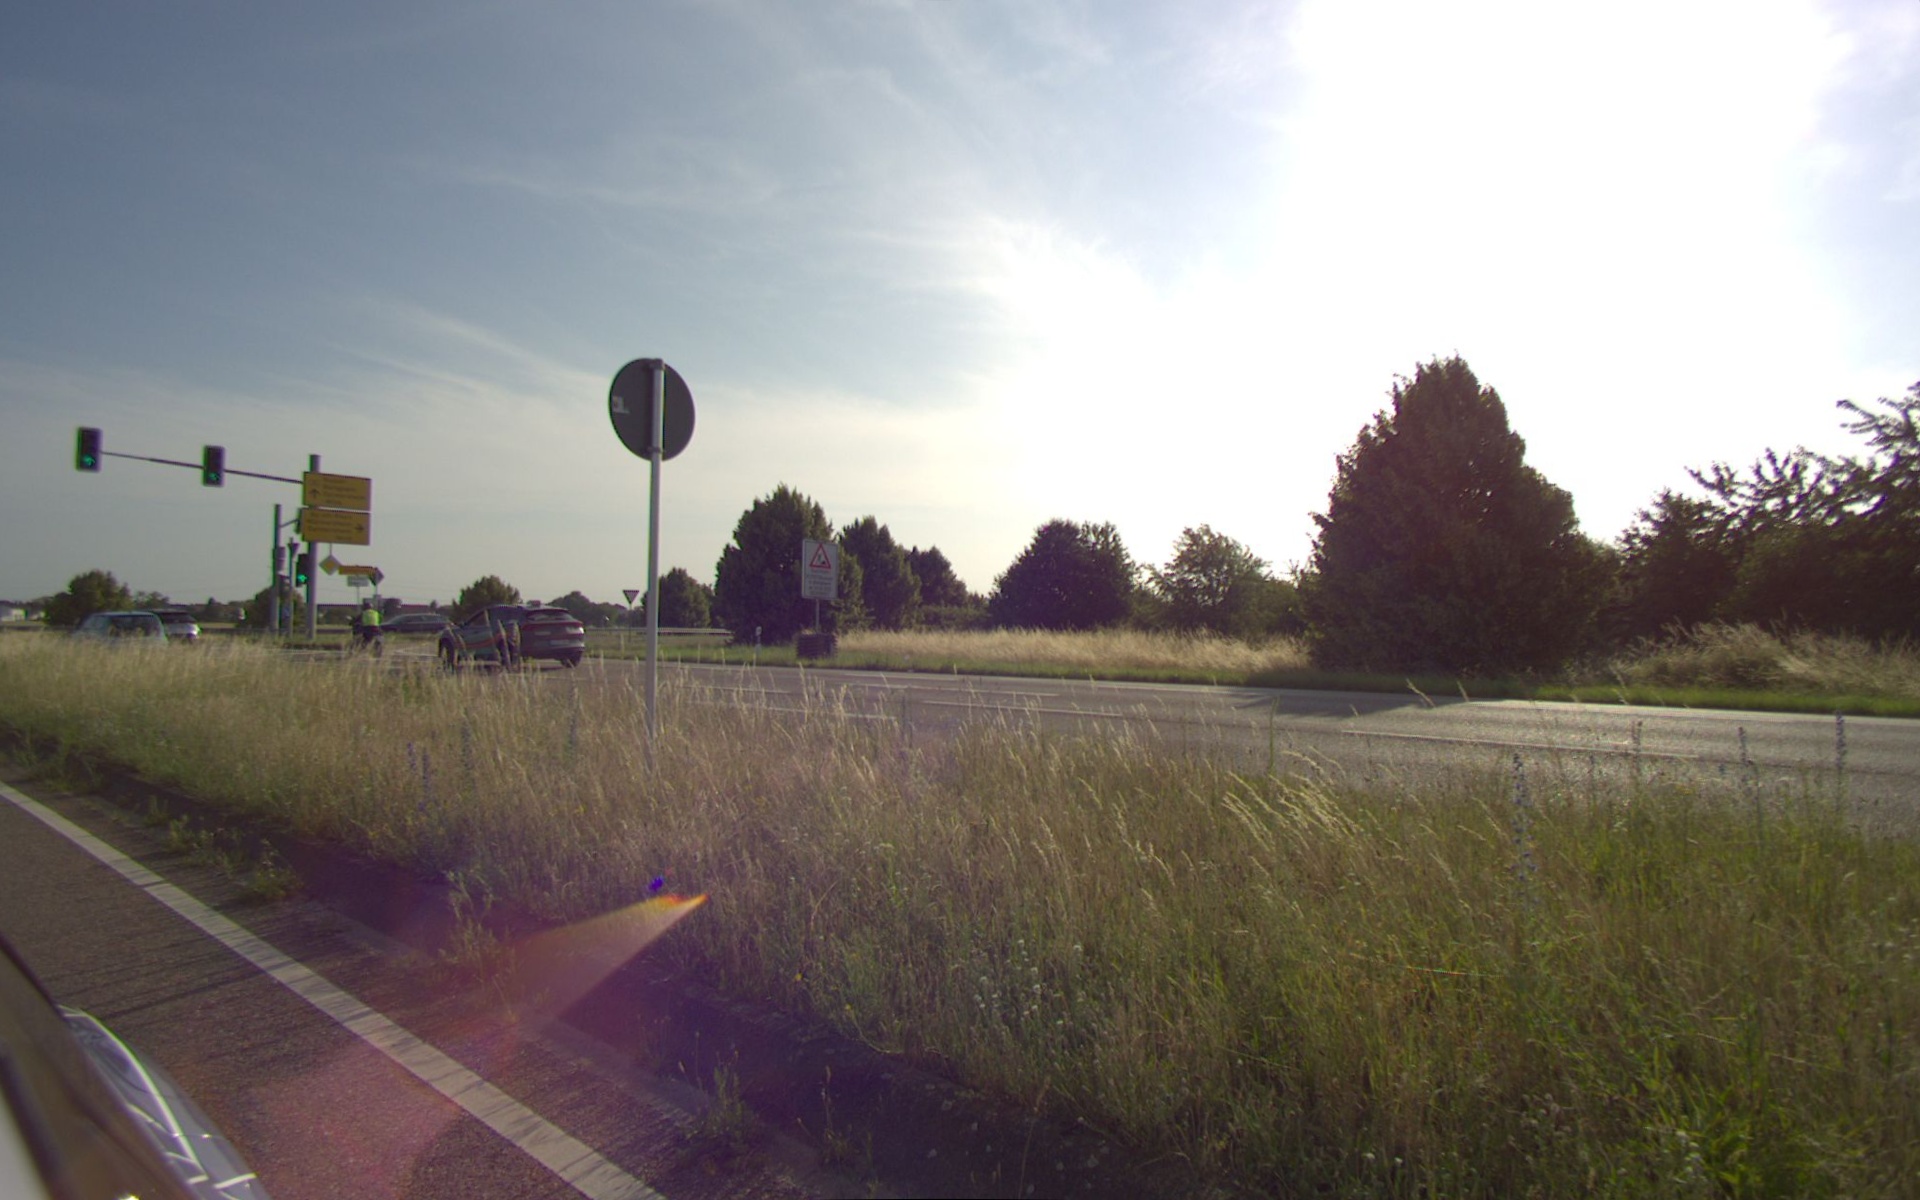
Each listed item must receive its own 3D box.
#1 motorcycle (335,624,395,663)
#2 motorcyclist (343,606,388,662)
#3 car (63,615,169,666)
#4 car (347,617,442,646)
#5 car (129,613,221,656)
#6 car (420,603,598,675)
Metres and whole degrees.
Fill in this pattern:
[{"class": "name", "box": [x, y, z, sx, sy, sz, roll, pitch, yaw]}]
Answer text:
[{"class": "motorcycle", "box": [-17.869, 1.280, 30.375, 2.304, 1.101, 0.745, -1, -1, 38]}, {"class": "motorcyclist", "box": [-17.800, 1.004, 30.297, 1.247, 1.616, 0.745, -1, -1, 37]}, {"class": "car", "box": [-26.169, 1.222, 31.354, 3.744, 1.454, 1.664, -1, 0, 36]}, {"class": "car", "box": [-29.605, 1.646, 53.127, 1.951, 1.408, 3.961, -1, -1, 28]}, {"class": "car", "box": [-30.210, 1.301, 38.909, 4.126, 1.536, 1.691, -1, -1, 35]}, {"class": "car", "box": [-10.906, 0.886, 24.330, 4.601, 1.577, 1.895, -1, -1, 36]}]
